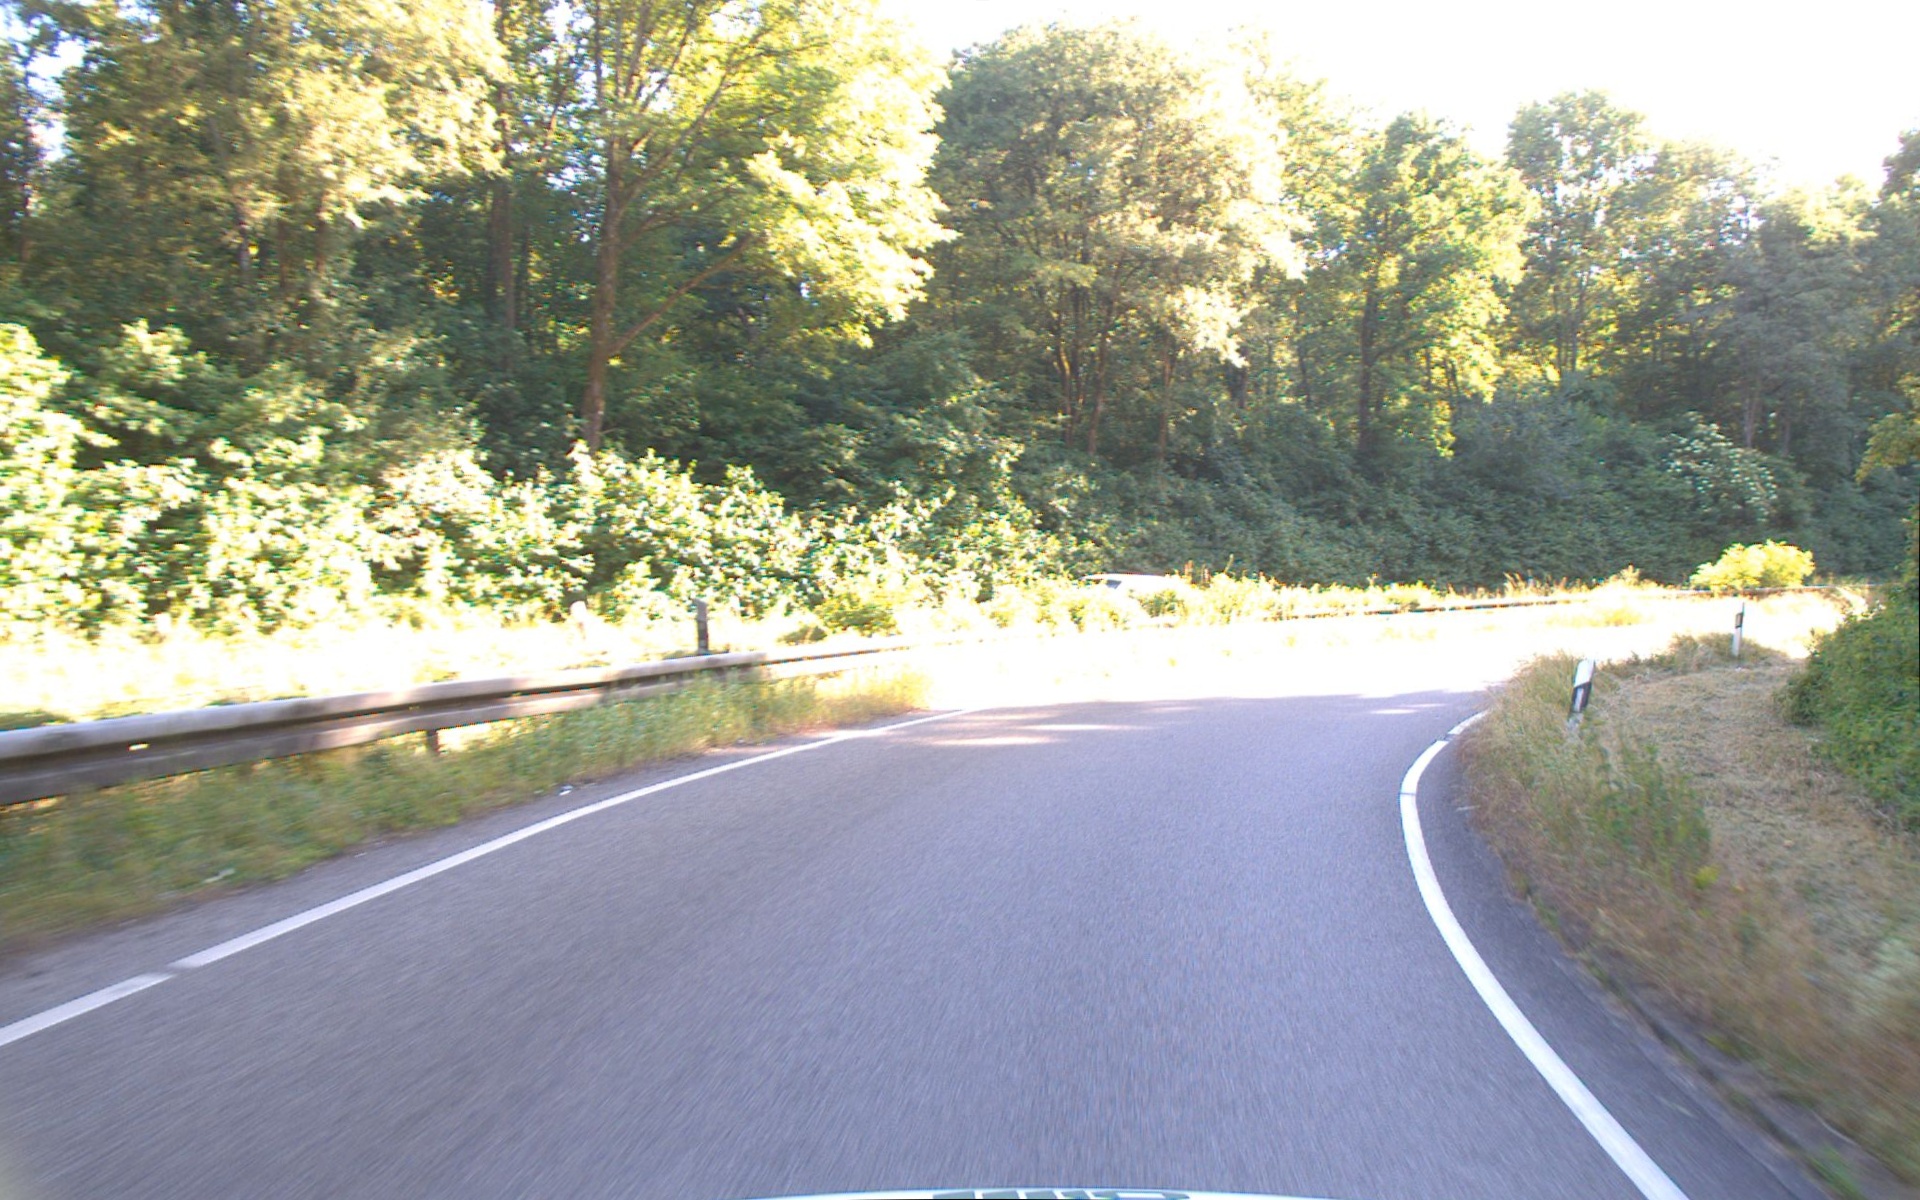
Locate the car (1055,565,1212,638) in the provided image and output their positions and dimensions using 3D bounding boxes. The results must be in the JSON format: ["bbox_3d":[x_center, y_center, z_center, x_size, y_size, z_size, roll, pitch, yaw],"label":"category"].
[{"bbox_3d":[3.862,0.002,36.284,1.692,1.513,3.986,0,1,35],"label":"car"}]
